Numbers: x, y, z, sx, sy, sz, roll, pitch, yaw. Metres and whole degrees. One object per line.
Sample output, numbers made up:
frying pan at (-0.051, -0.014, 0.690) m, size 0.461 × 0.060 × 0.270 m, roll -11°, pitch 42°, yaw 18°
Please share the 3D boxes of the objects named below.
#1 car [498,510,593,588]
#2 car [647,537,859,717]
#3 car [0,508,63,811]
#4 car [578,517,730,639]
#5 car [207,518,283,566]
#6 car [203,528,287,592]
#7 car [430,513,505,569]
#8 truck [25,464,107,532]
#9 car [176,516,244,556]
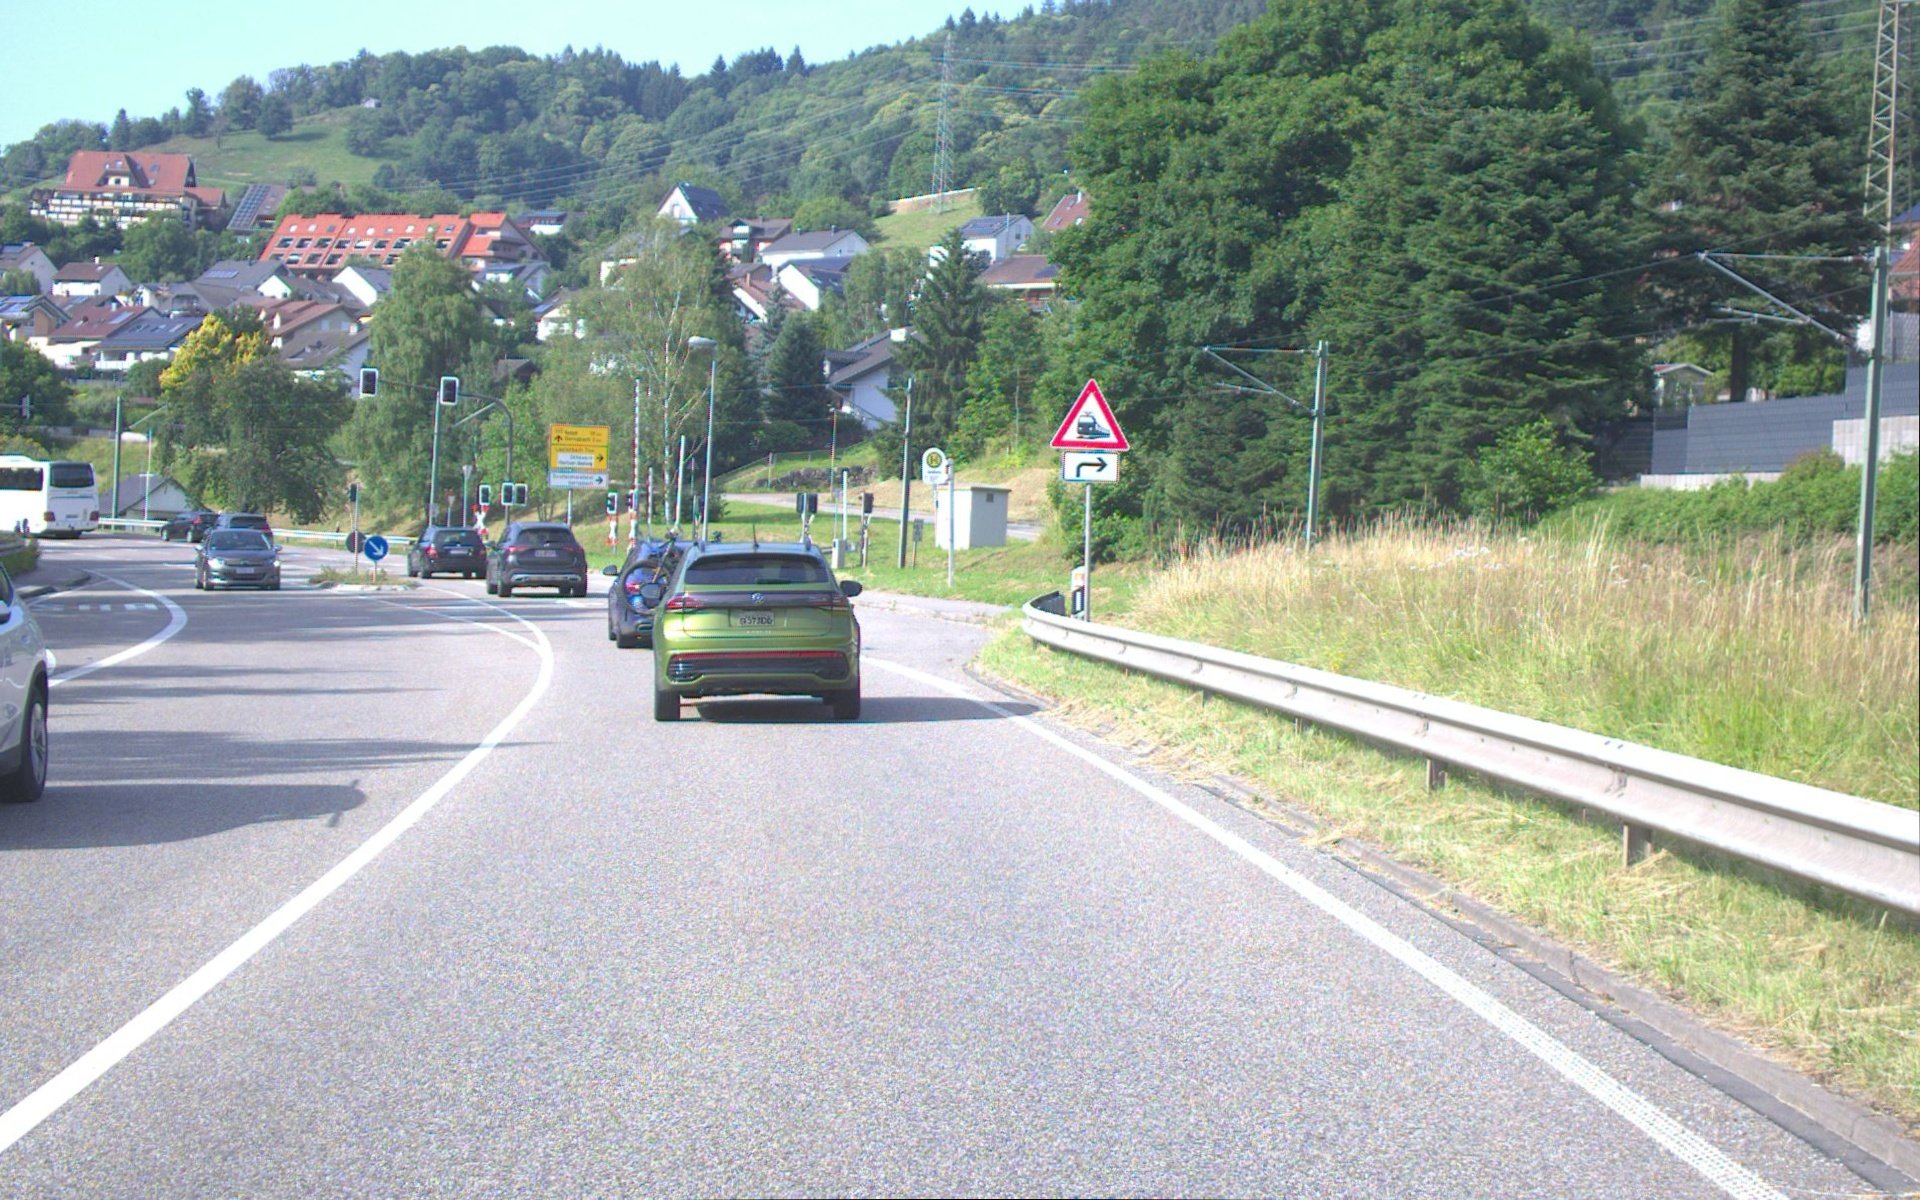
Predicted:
car at (-9.181, -1.134, 75.887) m, size 1.879 × 1.681 × 4.001 m, roll 0°, pitch 1°, yaw -10°
car at (-1.782, 0.182, 29.802) m, size 1.714 × 1.450 × 4.001 m, roll 0°, pitch 1°, yaw -3°
car at (-6.131, 0.315, 18.245) m, size 1.993 × 1.624 × 4.001 m, roll 0°, pitch 1°, yaw -5°
car at (-4.159, -0.320, 46.283) m, size 1.666 × 1.554 × 4.001 m, roll 0°, pitch 1°, yaw -10°
car at (-27.592, -2.252, 132.579) m, size 2.063 × 1.805 × 4.001 m, roll -1°, pitch 1°, yaw -24°
car at (-17.032, -0.972, 82.029) m, size 1.890 × 1.483 × 4.001 m, roll -1°, pitch 1°, yaw -11°
car at (-13.641, -1.648, 95.155) m, size 1.848 × 1.521 × 3.663 m, roll 0°, pitch 1°, yaw -11°
truck at (-41.784, -4.772, 160.527) m, size 2.711 × 3.073 × 6.110 m, roll -2°, pitch 2°, yaw -24°
car at (-34.043, -2.909, 155.923) m, size 1.993 × 1.739 × 4.001 m, roll 0°, pitch 1°, yaw -28°
